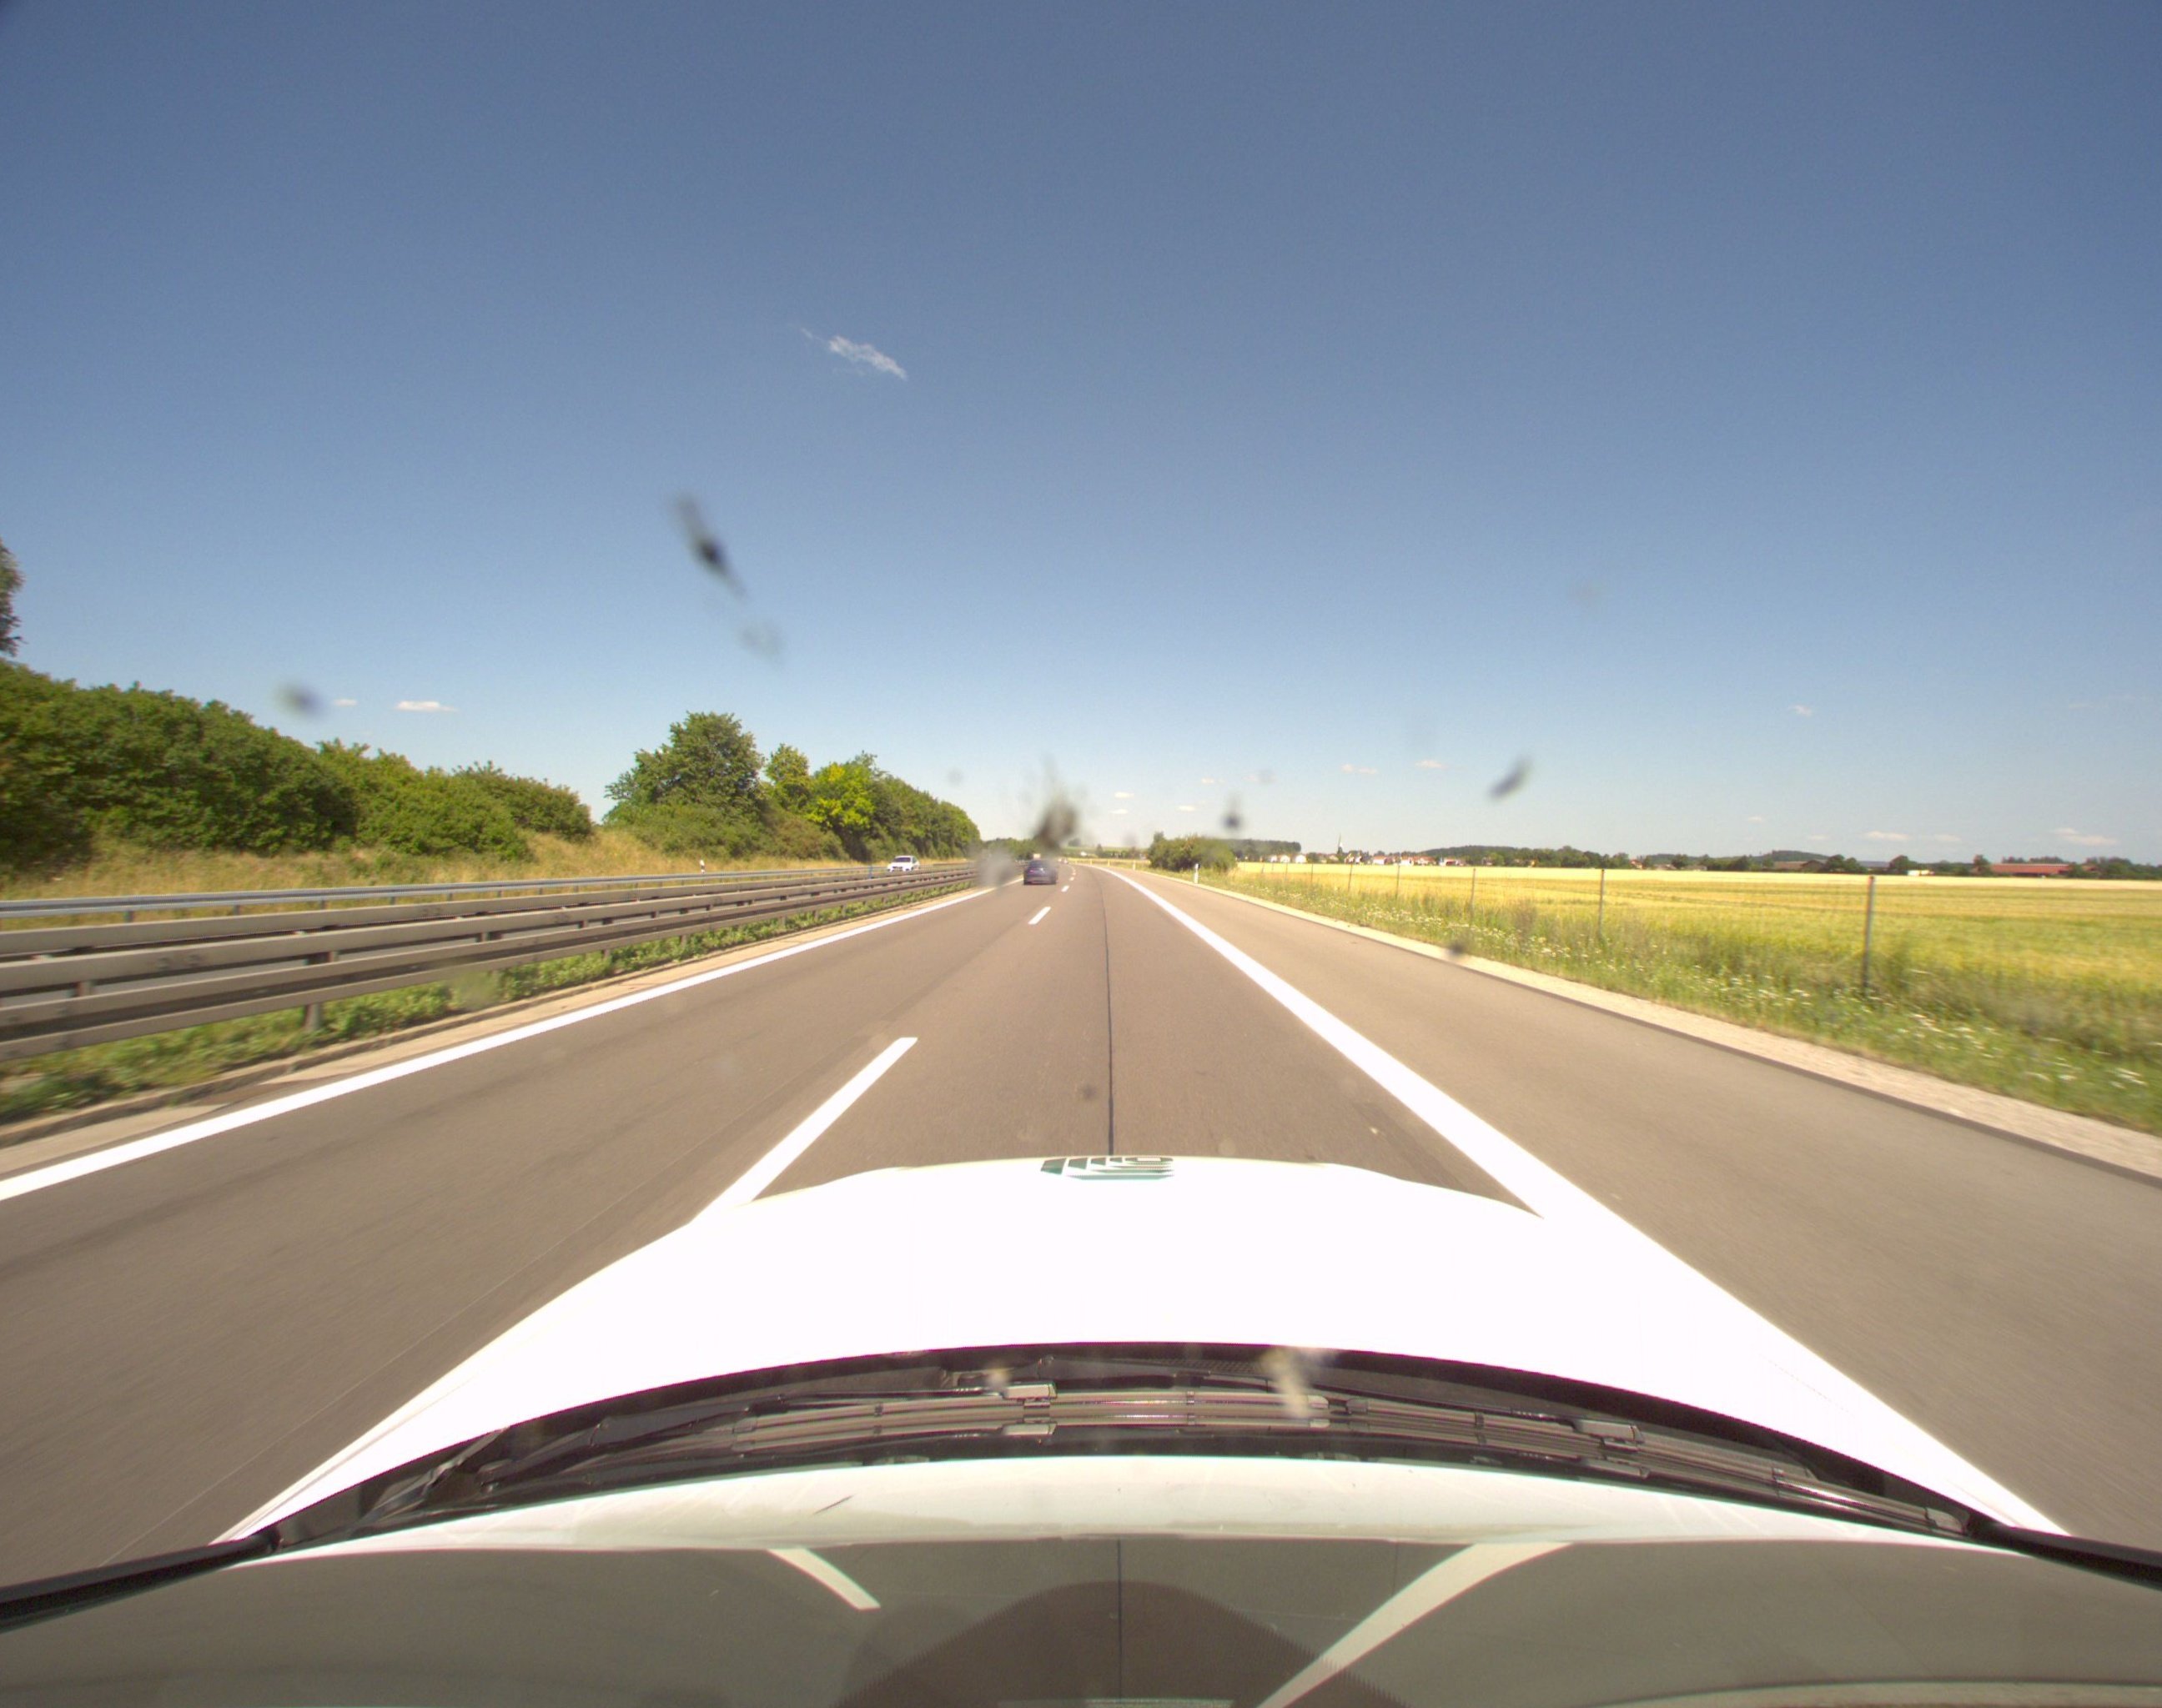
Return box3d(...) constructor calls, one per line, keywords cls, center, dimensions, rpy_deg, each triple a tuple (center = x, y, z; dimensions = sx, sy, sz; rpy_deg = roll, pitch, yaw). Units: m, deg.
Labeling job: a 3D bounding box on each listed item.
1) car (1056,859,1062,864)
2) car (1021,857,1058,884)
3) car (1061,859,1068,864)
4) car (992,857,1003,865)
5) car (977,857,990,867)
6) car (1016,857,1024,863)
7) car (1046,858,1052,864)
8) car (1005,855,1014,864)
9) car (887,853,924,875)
box3d(cls="car", center=(-6.663, 2.173, 244.648), dimensions=(1.672, 1.453, 3.587), rpy_deg=(0, 0, -4))
box3d(cls="car", center=(-2.370, 0.931, 47.799), dimensions=(1.841, 1.432, 5.865), rpy_deg=(0, 0, 0))
box3d(cls="car", center=(-4.209, 1.931, 209.412), dimensions=(1.671, 1.453, 3.589), rpy_deg=(0, 0, -2))
box3d(cls="car", center=(-15.189, 1.258, 148.793), dimensions=(1.657, 1.422, 3.999), rpy_deg=(0, 0, -1))
box3d(cls="car", center=(-14.580, 1.205, 121.915), dimensions=(1.574, 1.462, 4.150), rpy_deg=(0, 0, -1))
box3d(cls="car", center=(-14.118, 1.347, 189.708), dimensions=(1.657, 1.422, 3.999), rpy_deg=(0, 0, -1))
box3d(cls="car", center=(-9.018, 1.961, 229.348), dimensions=(1.672, 1.453, 3.588), rpy_deg=(0, 0, -3))
box3d(cls="car", center=(-21.879, 1.740, 248.912), dimensions=(2.537, 2.595, 6.588), rpy_deg=(0, 0, -2))
box3d(cls="car", center=(-13.385, 0.734, 62.233), dimensions=(1.745, 1.565, 4.580), rpy_deg=(1, 0, 1))
